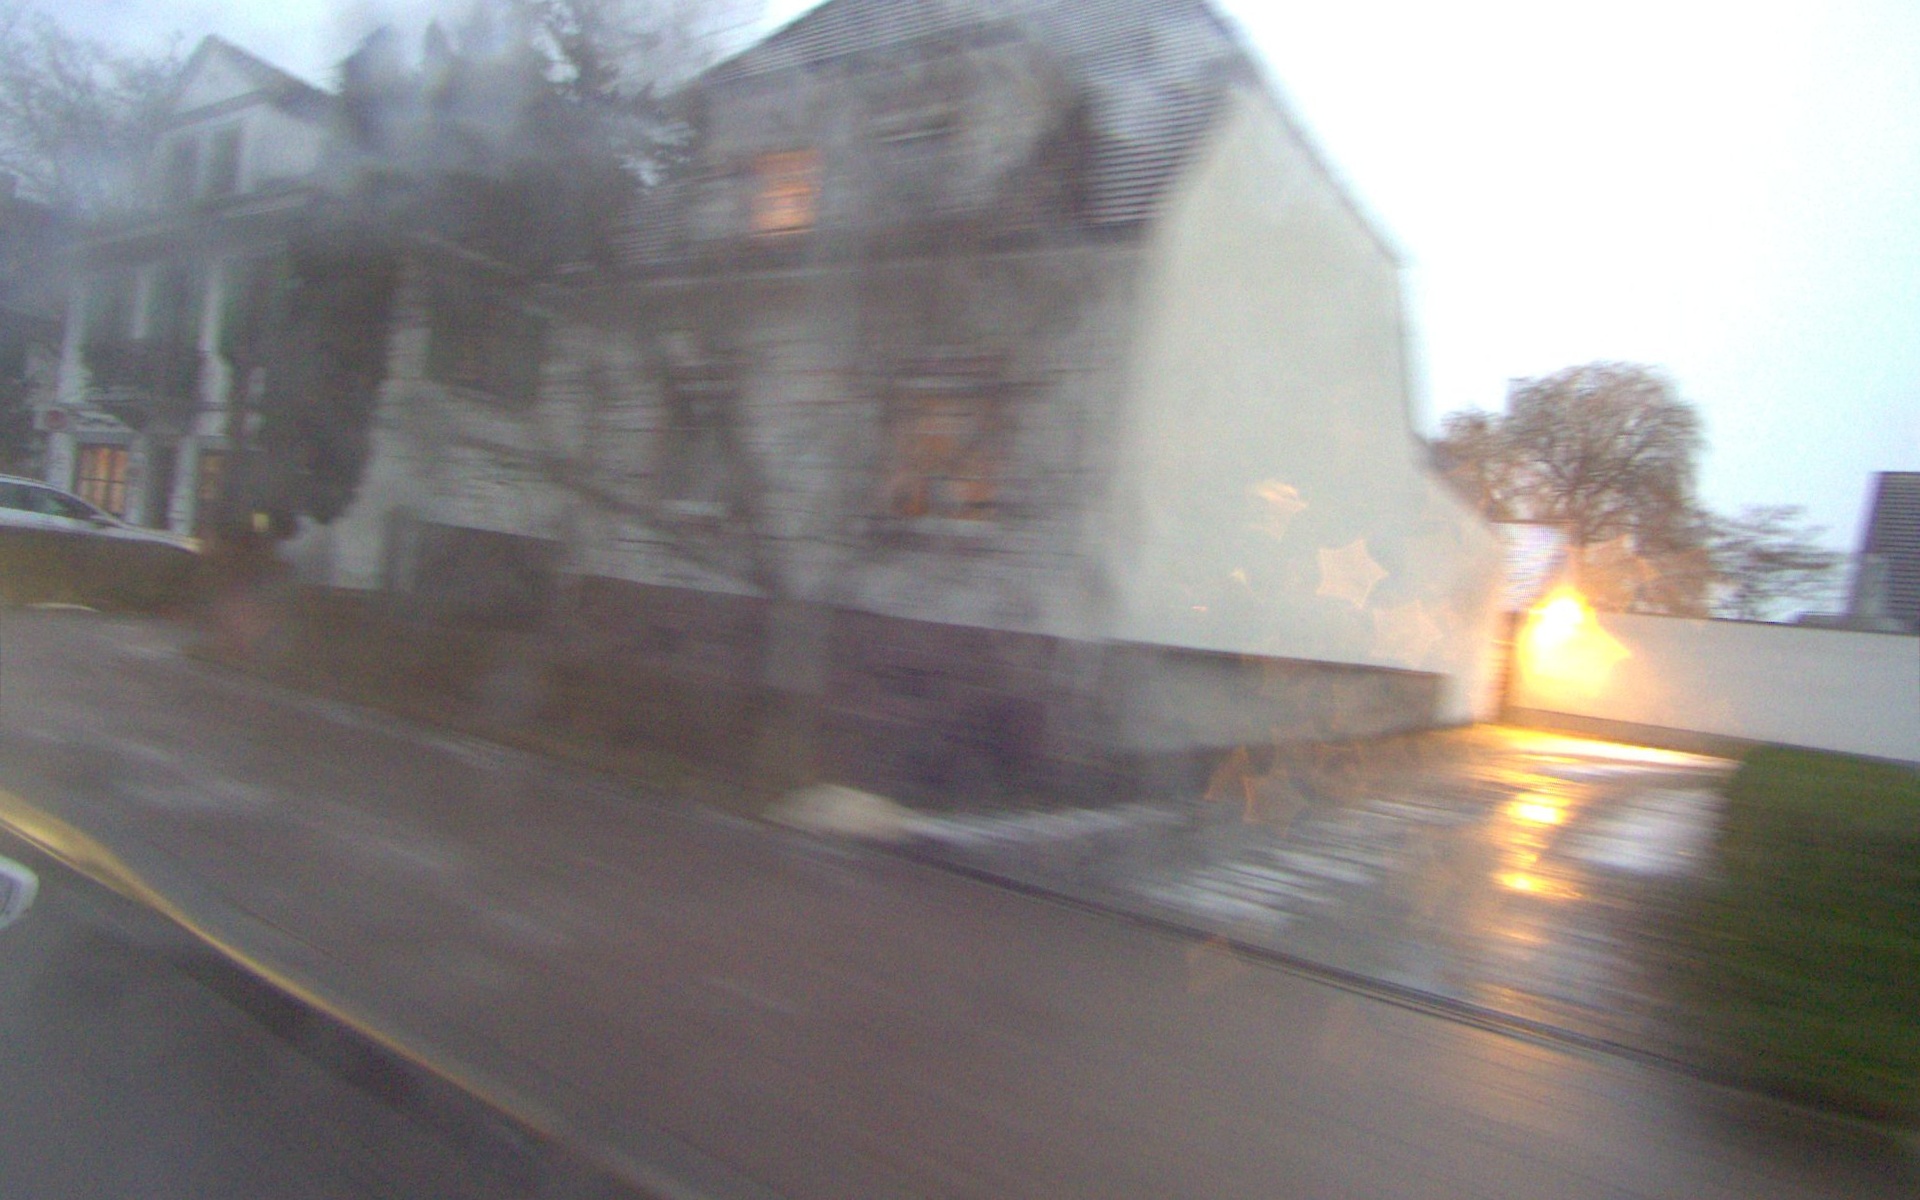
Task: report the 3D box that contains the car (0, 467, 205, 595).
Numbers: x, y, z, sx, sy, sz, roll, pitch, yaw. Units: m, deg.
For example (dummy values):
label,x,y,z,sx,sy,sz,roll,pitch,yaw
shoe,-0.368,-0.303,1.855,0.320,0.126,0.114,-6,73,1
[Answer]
label,x,y,z,sx,sy,sz,roll,pitch,yaw
car,-14.348,-1.149,14.849,1.878,1.650,4.731,7,1,37
